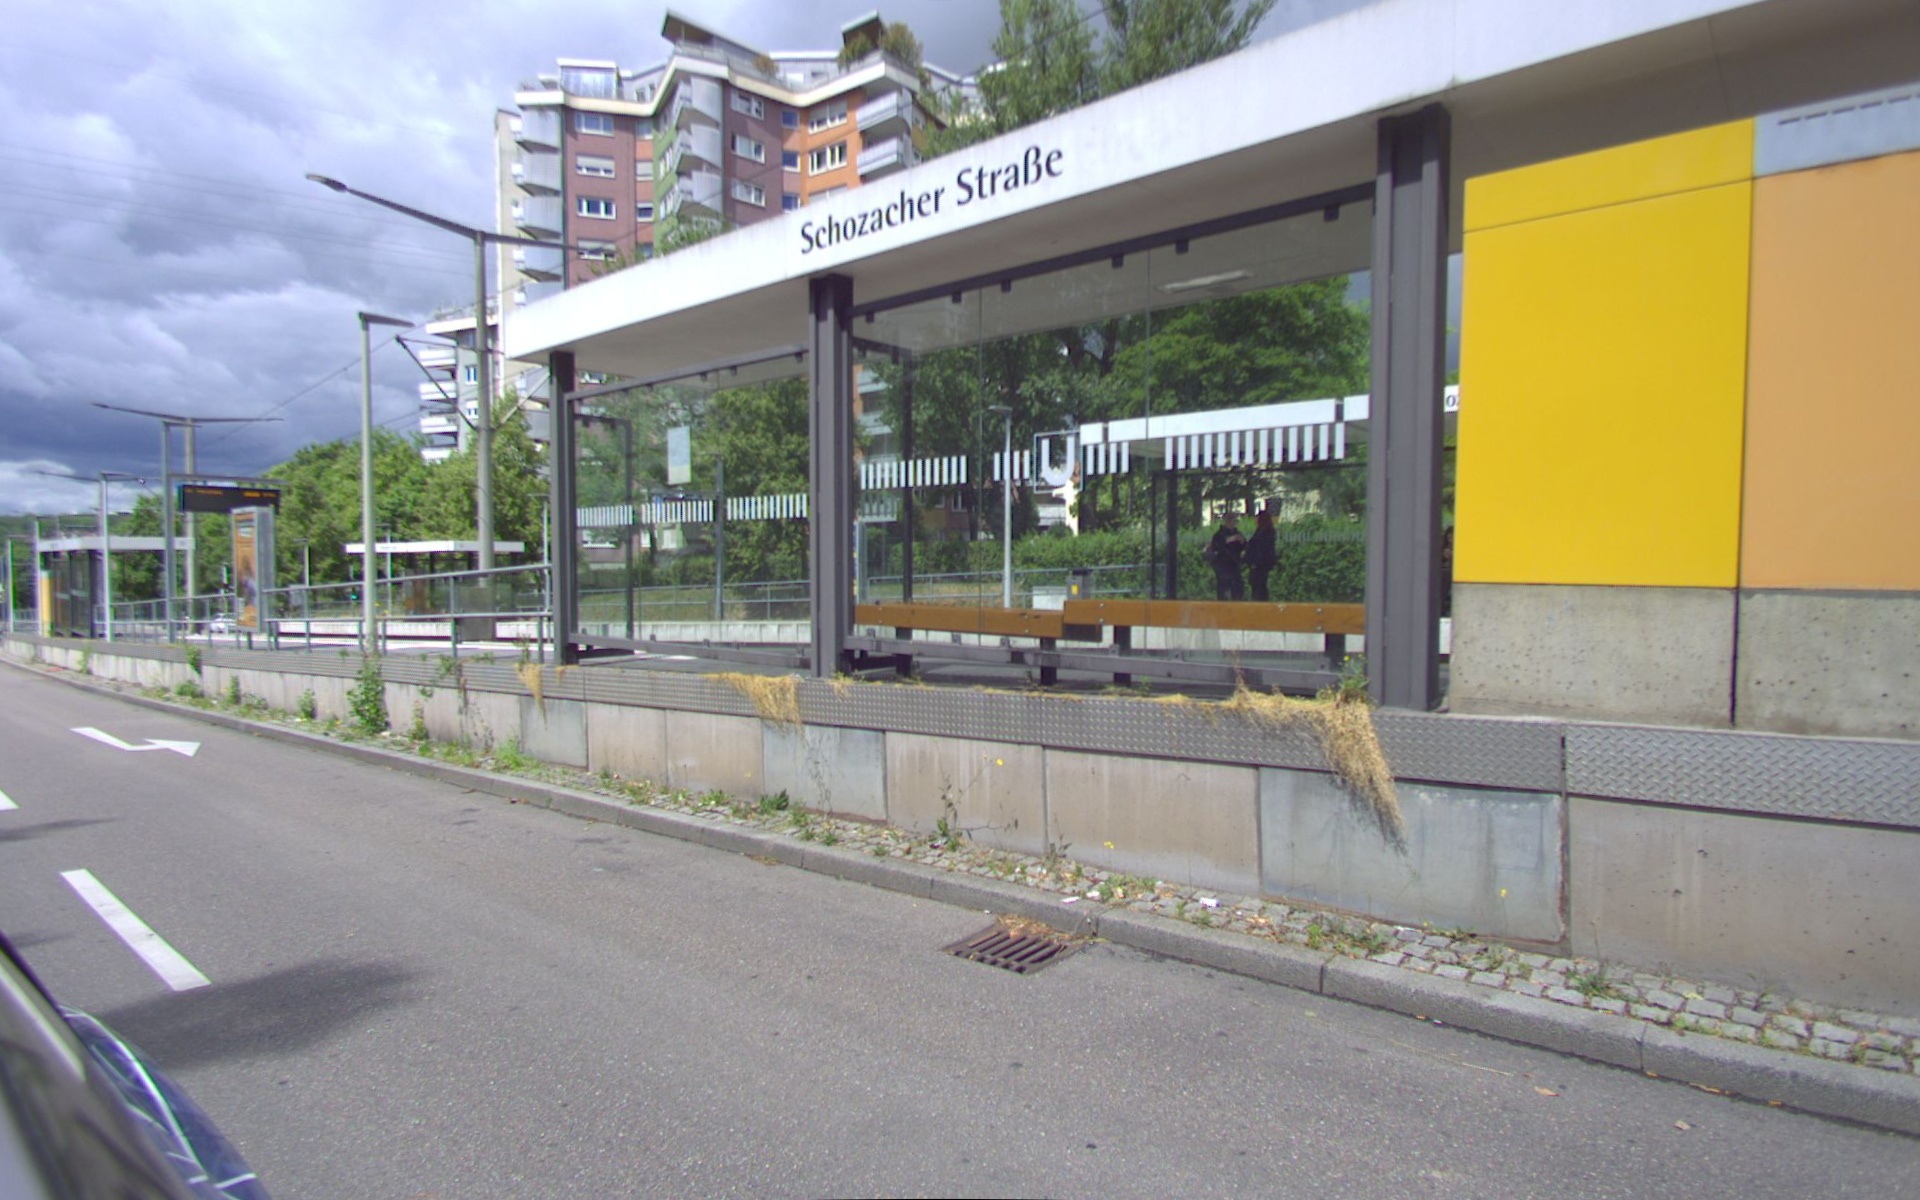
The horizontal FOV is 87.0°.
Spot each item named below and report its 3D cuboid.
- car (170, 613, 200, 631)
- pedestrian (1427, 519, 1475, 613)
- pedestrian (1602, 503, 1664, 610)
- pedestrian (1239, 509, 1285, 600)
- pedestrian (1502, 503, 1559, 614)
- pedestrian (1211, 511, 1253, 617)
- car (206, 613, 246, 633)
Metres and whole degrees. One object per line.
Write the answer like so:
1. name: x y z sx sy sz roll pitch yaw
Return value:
1. car: -67.717 1.943 88.443 1.635 1.524 3.740 -1 -1 -45
2. pedestrian: 6.688 -0.452 13.778 0.541 1.246 0.516 -1 -1 29
3. pedestrian: 8.172 -0.510 12.291 0.517 1.246 0.734 -1 -1 41
4. pedestrian: 4.673 -0.695 15.661 0.520 1.390 0.537 2 1 32
5. pedestrian: 7.358 -0.518 13.050 0.506 1.379 0.637 -1 -1 41
6. pedestrian: 4.318 -0.562 16.094 0.558 1.657 0.520 -1 -1 9
7. car: -55.716 1.719 76.812 3.999 1.429 1.637 -1 -1 42
